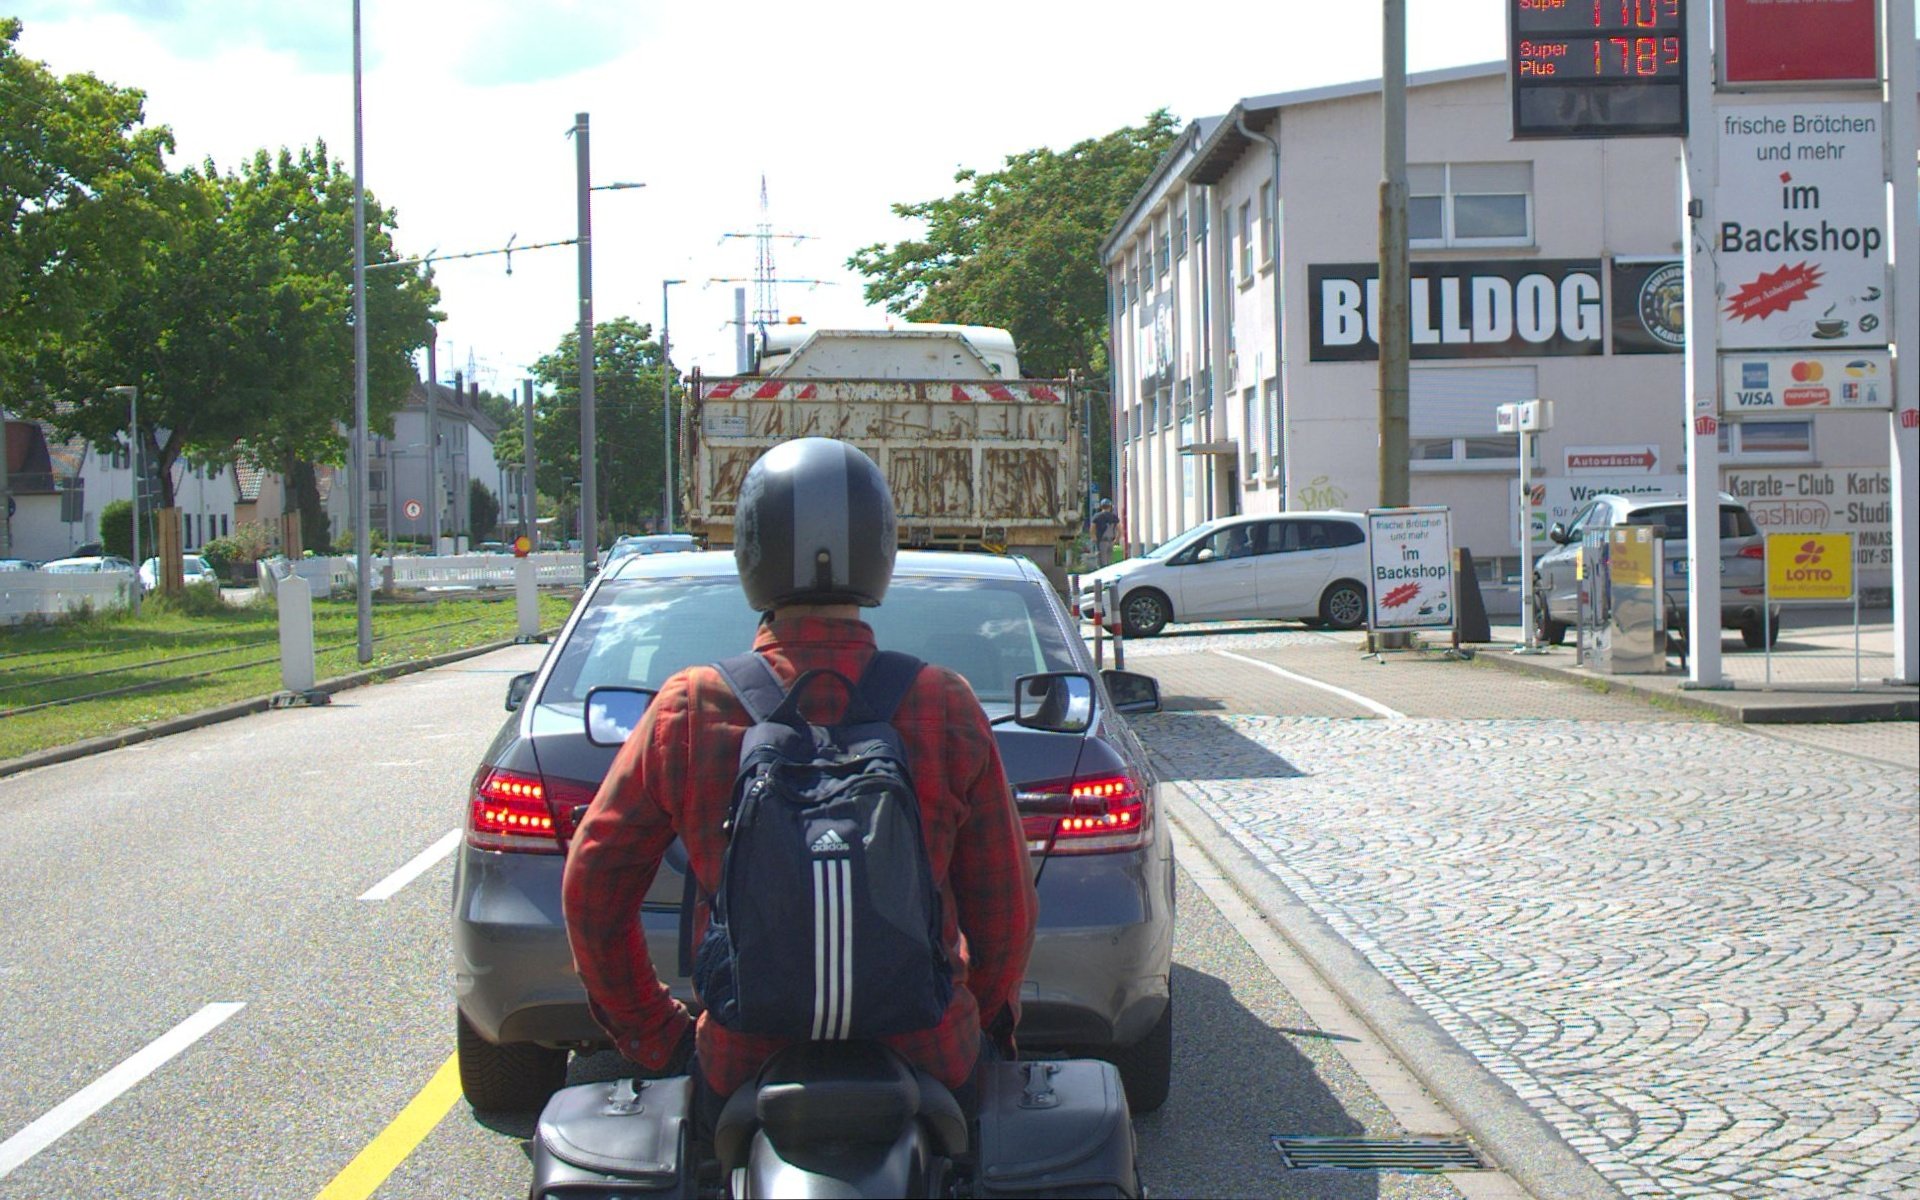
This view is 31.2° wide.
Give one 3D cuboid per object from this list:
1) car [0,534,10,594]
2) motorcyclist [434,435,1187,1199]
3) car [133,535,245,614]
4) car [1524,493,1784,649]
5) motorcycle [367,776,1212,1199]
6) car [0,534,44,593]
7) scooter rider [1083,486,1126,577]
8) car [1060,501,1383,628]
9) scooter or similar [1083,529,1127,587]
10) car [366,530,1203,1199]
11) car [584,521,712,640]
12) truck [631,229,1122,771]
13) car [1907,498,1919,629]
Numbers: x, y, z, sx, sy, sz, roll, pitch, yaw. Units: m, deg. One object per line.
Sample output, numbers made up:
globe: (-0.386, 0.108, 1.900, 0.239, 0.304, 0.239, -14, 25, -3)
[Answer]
car: (-28.670, -0.998, 98.579, 1.698, 1.733, 4.062, -1, 1, 0)
motorcyclist: (-0.205, 0.591, 5.086, 0.969, 1.627, 1.215, 1, 1, -1)
car: (-17.788, -0.615, 79.465, 1.698, 1.733, 3.860, -1, 1, 0)
car: (7.325, -0.338, 36.647, 1.832, 1.530, 4.010, -1, 1, -2)
motorcycle: (-0.215, 0.866, 5.209, 0.976, 1.010, 2.432, 1, 1, -1)
car: (-29.266, -1.110, 104.590, 1.698, 1.733, 4.062, -1, 1, 0)
scooter rider: (2.897, -1.375, 69.100, 0.795, 1.812, 0.508, -1, 1, -1)
car: (3.550, -0.498, 47.032, 4.104, 1.619, 1.686, -1, 1, -8)
scooter or similar: (2.909, -0.853, 69.156, 0.795, 1.141, 1.519, -1, 1, -1)
car: (-0.446, 0.565, 9.692, 1.832, 1.474, 4.010, -1, 1, -2)
car: (-4.596, -0.315, 50.252, 1.680, 1.619, 4.120, -1, 1, -7)
truck: (-0.634, -0.713, 25.470, 2.970, 3.293, 8.408, -1, 1, -2)
car: (11.789, -0.398, 37.245, 1.832, 1.474, 4.010, -1, 1, -2)
